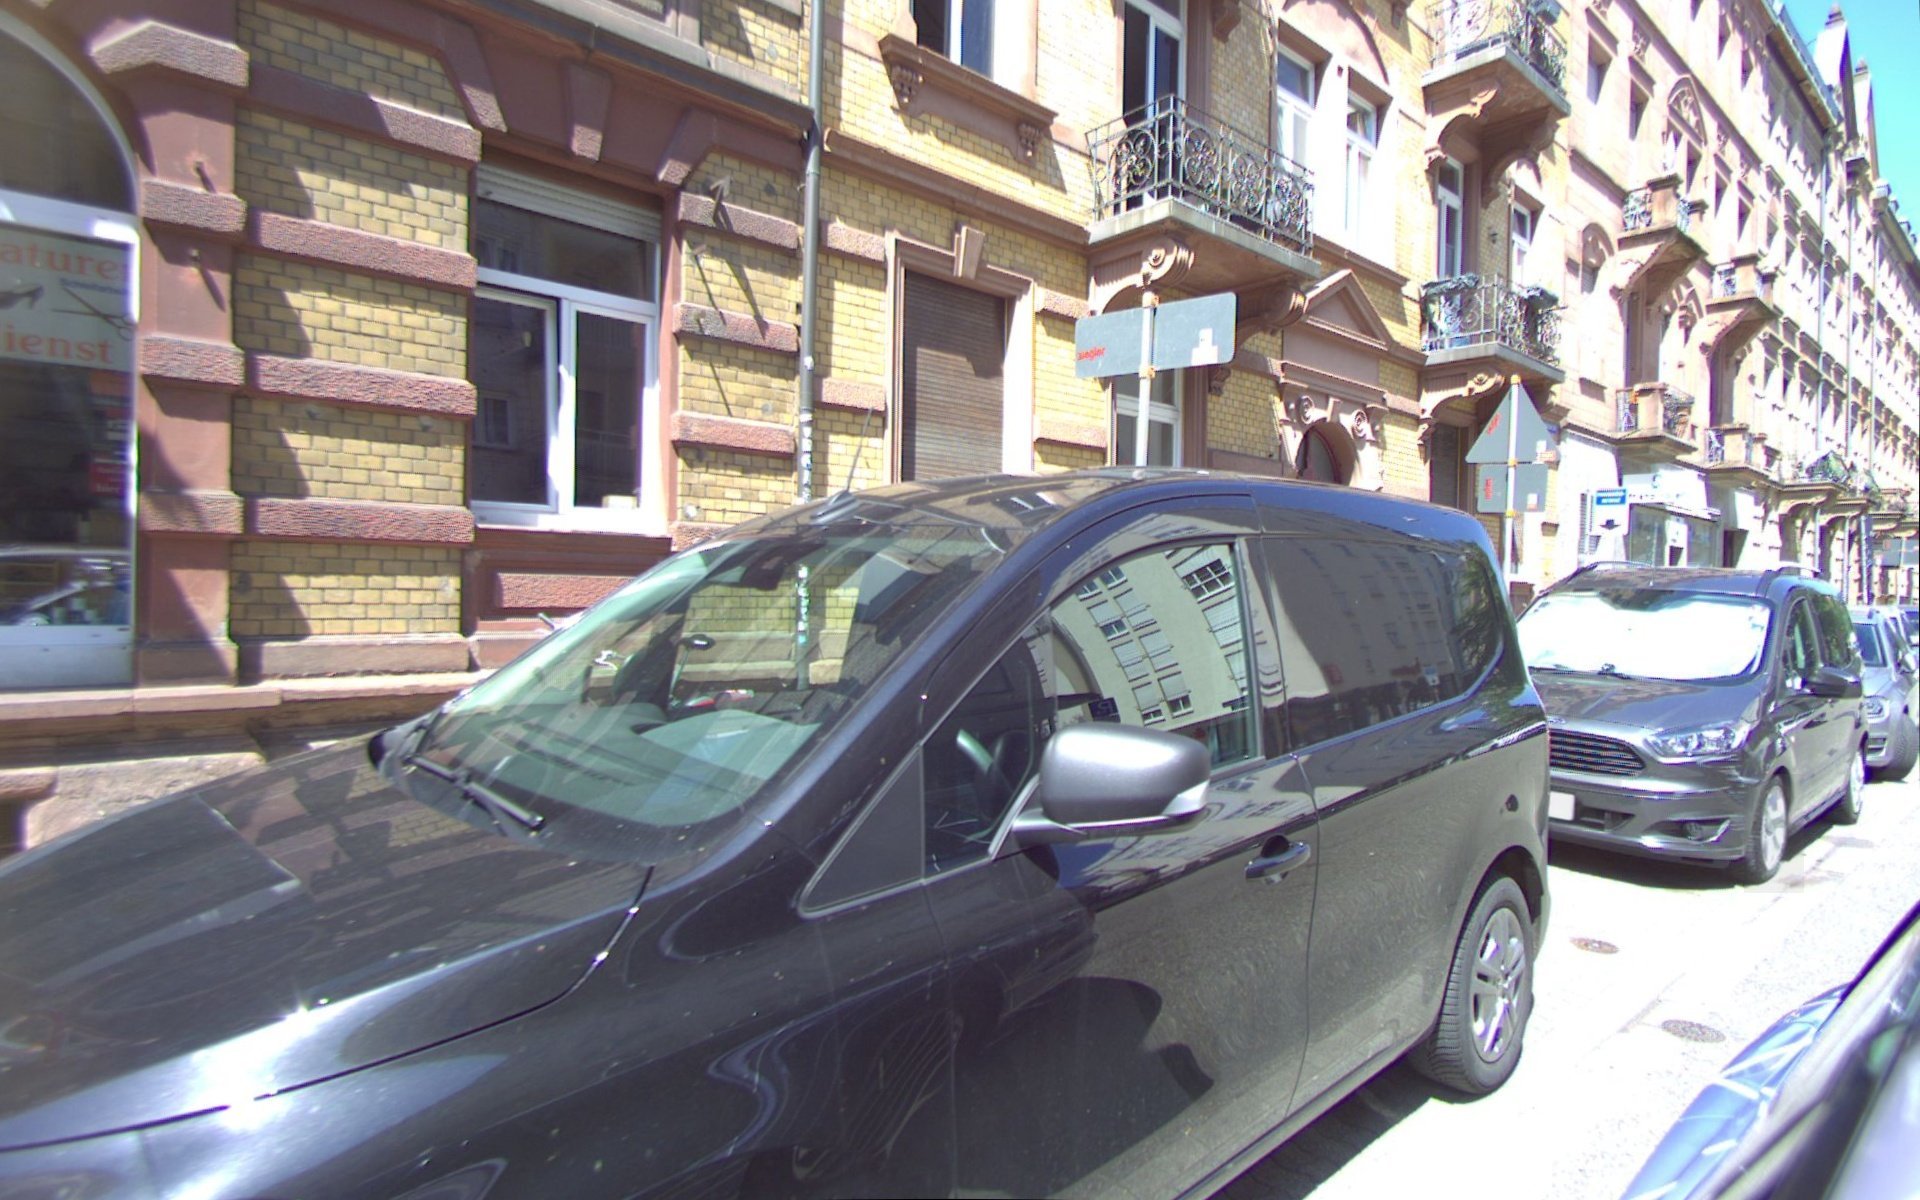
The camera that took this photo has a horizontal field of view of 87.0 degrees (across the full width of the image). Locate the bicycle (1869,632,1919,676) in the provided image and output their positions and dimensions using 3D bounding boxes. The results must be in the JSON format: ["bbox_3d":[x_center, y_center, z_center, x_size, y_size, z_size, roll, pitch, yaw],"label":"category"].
[{"bbox_3d":[18.728,1.057,19.319,0.557,0.786,1.968,1,1,-36],"label":"bicycle"}]

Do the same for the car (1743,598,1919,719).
[{"bbox_3d":[12.671,0.713,14.404,3.933,1.479,1.827,0,0,-43],"label":"car"}]

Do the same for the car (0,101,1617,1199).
[{"bbox_3d":[0.015,0.497,2.655,4.264,1.789,1.827,0,2,-43],"label":"car"}]

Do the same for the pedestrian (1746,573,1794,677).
[{"bbox_3d":[15.492,0.464,19.363,0.363,1.938,0.634,1,0,-40],"label":"pedestrian"}]

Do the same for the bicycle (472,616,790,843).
[{"bbox_3d":[-1.819,0.665,5.804,1.725,1.117,0.354,0,0,-41],"label":"bicycle"}]

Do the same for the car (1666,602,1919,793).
[{"bbox_3d":[8.226,0.759,9.784,1.760,1.468,3.844,0,0,43],"label":"car"}]

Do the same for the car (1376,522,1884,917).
[{"bbox_3d":[4.420,0.522,6.440,3.930,1.755,1.704,0,0,-41],"label":"car"}]

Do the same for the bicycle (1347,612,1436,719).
[{"bbox_3d":[4.988,0.720,11.656,1.404,1.121,0.366,-1,1,-41],"label":"bicycle"}]

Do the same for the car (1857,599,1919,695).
[{"bbox_3d":[16.248,0.726,16.903,3.628,1.481,1.600,0,0,-44],"label":"car"}]

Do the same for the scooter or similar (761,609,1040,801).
[{"bbox_3d":[-0.348,0.657,7.134,2.111,1.167,0.477,0,0,-41],"label":"scooter or similar"}]
